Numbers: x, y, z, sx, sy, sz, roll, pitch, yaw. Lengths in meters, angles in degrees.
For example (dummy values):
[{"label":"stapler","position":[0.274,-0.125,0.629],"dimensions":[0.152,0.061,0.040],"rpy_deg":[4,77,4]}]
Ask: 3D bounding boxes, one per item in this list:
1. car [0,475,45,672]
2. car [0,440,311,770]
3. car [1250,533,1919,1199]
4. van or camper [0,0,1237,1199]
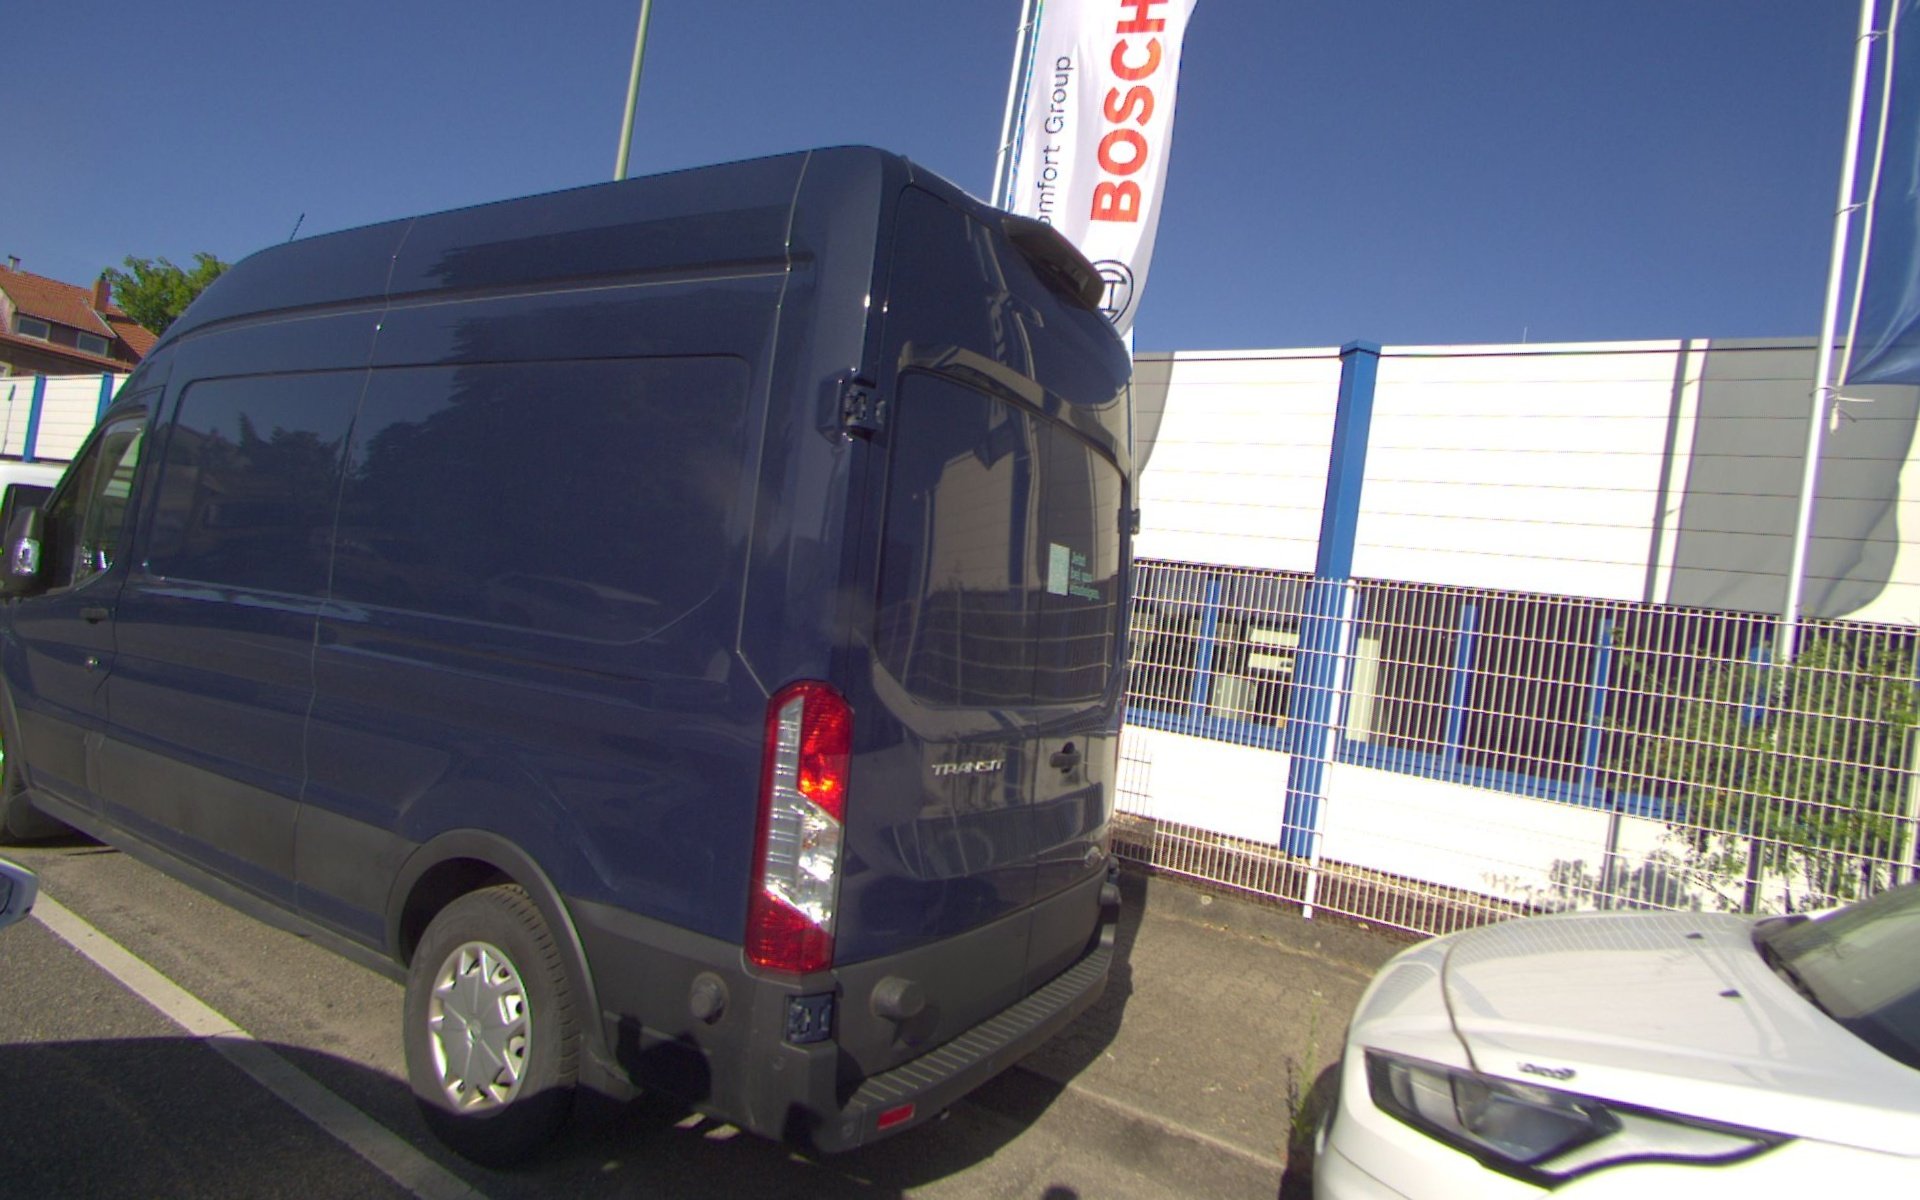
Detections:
[{"label":"car","position":[-11.636,-0.581,10.283],"dimensions":[5.083,1.849,1.861],"rpy_deg":[6,-4,32]},{"label":"car","position":[-7.292,-0.101,7.546],"dimensions":[5.019,1.866,1.892],"rpy_deg":[6,-4,32]},{"label":"car","position":[3.151,1.141,1.306],"dimensions":[5.018,1.816,1.892],"rpy_deg":[6,-4,31]},{"label":"van or camper","position":[-2.234,-0.035,4.474],"dimensions":[6.059,2.788,2.147],"rpy_deg":[6,-4,32]}]
